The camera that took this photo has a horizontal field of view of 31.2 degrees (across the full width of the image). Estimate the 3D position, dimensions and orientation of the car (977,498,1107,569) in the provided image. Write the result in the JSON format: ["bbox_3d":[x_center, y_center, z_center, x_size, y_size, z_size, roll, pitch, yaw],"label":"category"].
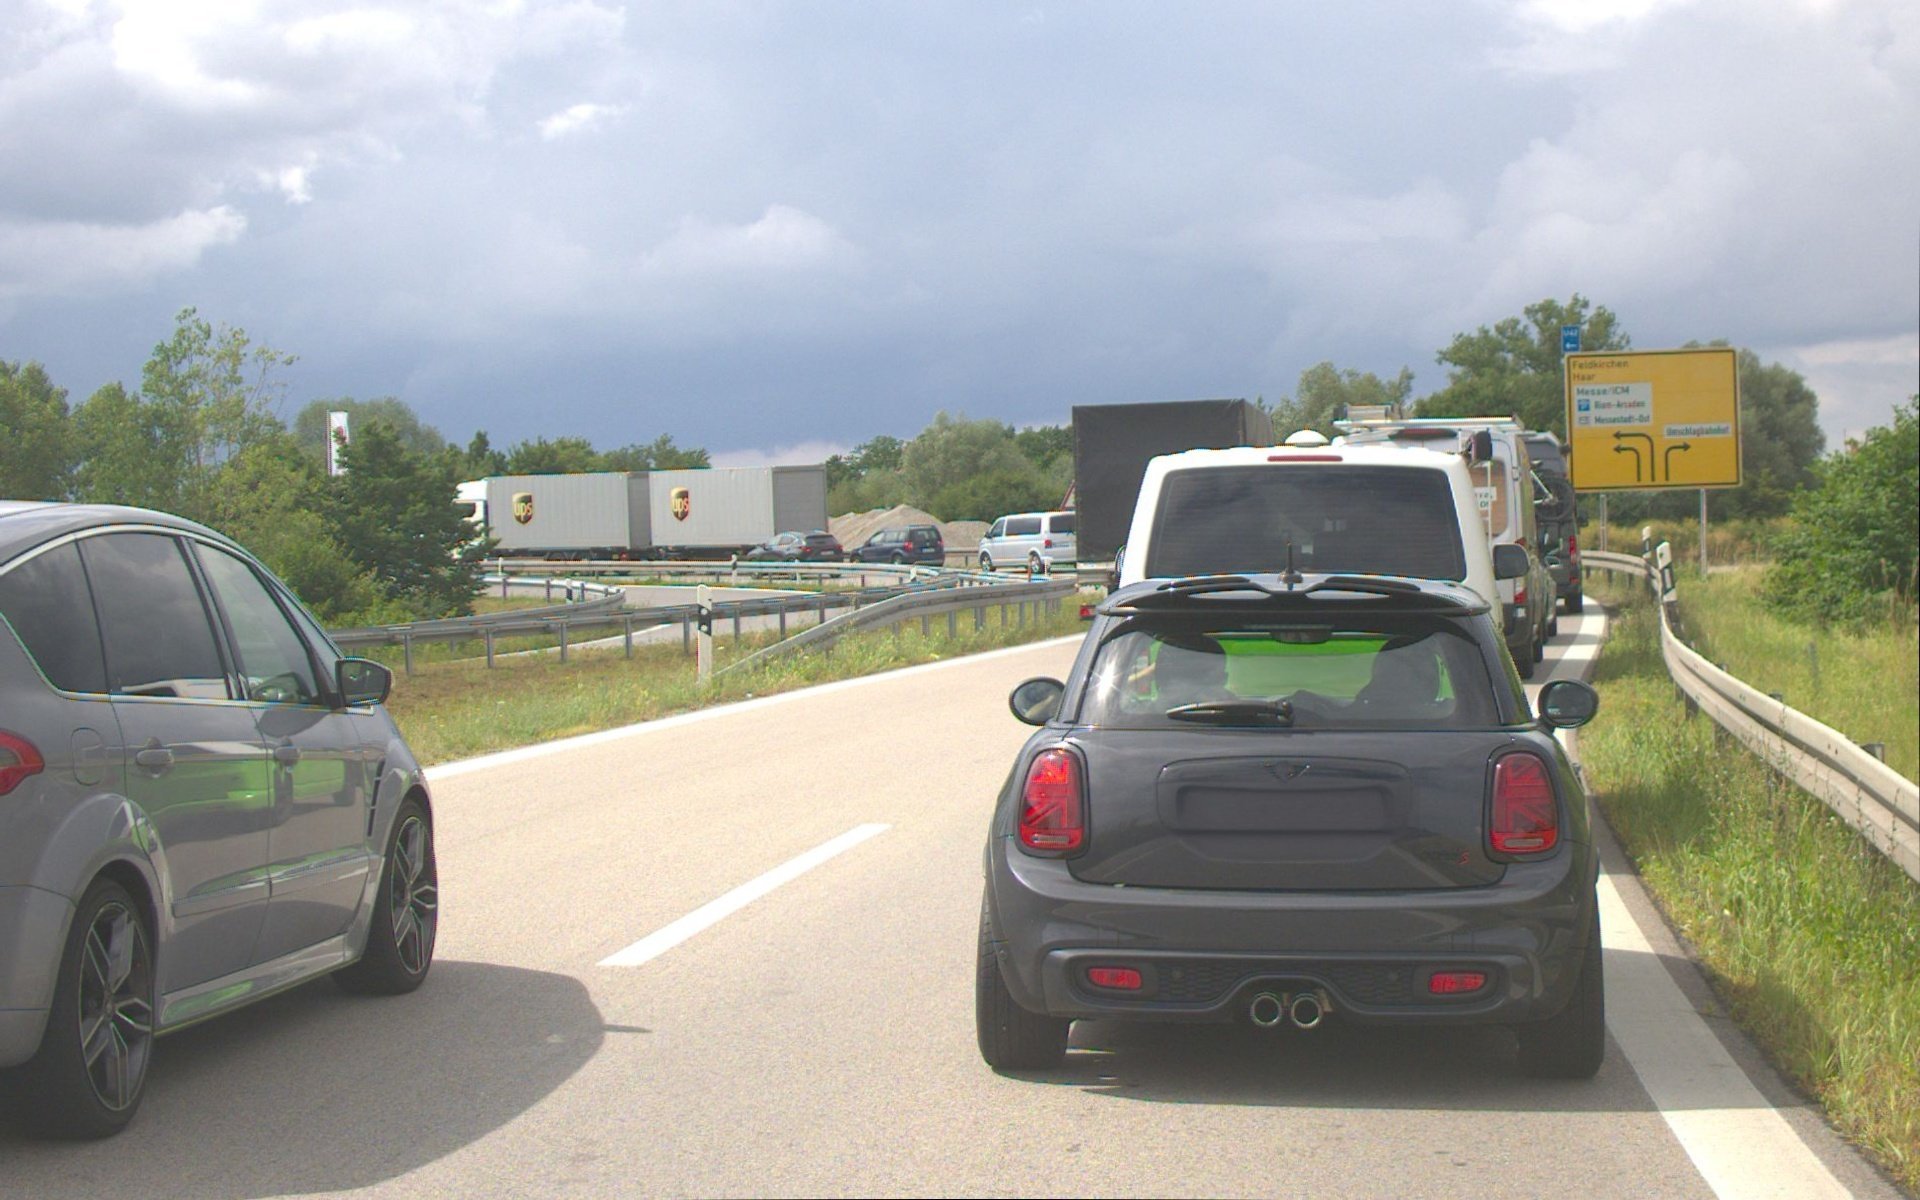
[{"bbox_3d":[2.693,-2.167,113.879,2.289,2.252,5.108,1,0,-24],"label":"car"}]

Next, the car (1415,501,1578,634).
[{"bbox_3d":[7.030,-0.408,45.040,1.994,1.636,3.927,1,0,9],"label":"car"}]

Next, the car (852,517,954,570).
[{"bbox_3d":[-2.031,-1.983,121.494,1.921,1.831,4.318,1,0,-26],"label":"car"}]

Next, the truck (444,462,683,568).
[{"bbox_3d":[-15.469,-3.289,133.551,10.018,3.962,2.839,1,0,37],"label":"truck"}]

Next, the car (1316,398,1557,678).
[{"bbox_3d":[4.933,-0.594,35.221,2.212,2.613,5.532,1,0,9],"label":"car"}]

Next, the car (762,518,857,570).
[{"bbox_3d":[-5.259,-1.932,119.525,1.812,1.750,4.001,1,0,-26],"label":"car"}]

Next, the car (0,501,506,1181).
[{"bbox_3d":[-2.949,0.566,9.930,2.022,1.572,4.585,-1,0,9],"label":"car"}]

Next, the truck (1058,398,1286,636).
[{"bbox_3d":[3.182,-1.118,49.688,2.561,3.157,7.465,1,0,9],"label":"truck"}]

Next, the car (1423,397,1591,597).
[{"bbox_3d":[9.000,-1.593,56.110,2.312,3.058,6.658,1,0,12],"label":"car"}]

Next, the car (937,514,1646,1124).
[{"bbox_3d":[1.025,0.530,10.690,1.800,1.541,3.738,0,1,6],"label":"car"}]

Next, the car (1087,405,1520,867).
[{"bbox_3d":[1.828,0.138,17.380,1.911,2.038,4.179,0,0,8],"label":"car"}]

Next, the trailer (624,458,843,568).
[{"bbox_3d":[-8.448,-3.191,127.419,3.038,3.885,8.767,1,0,-45],"label":"trailer"}]
